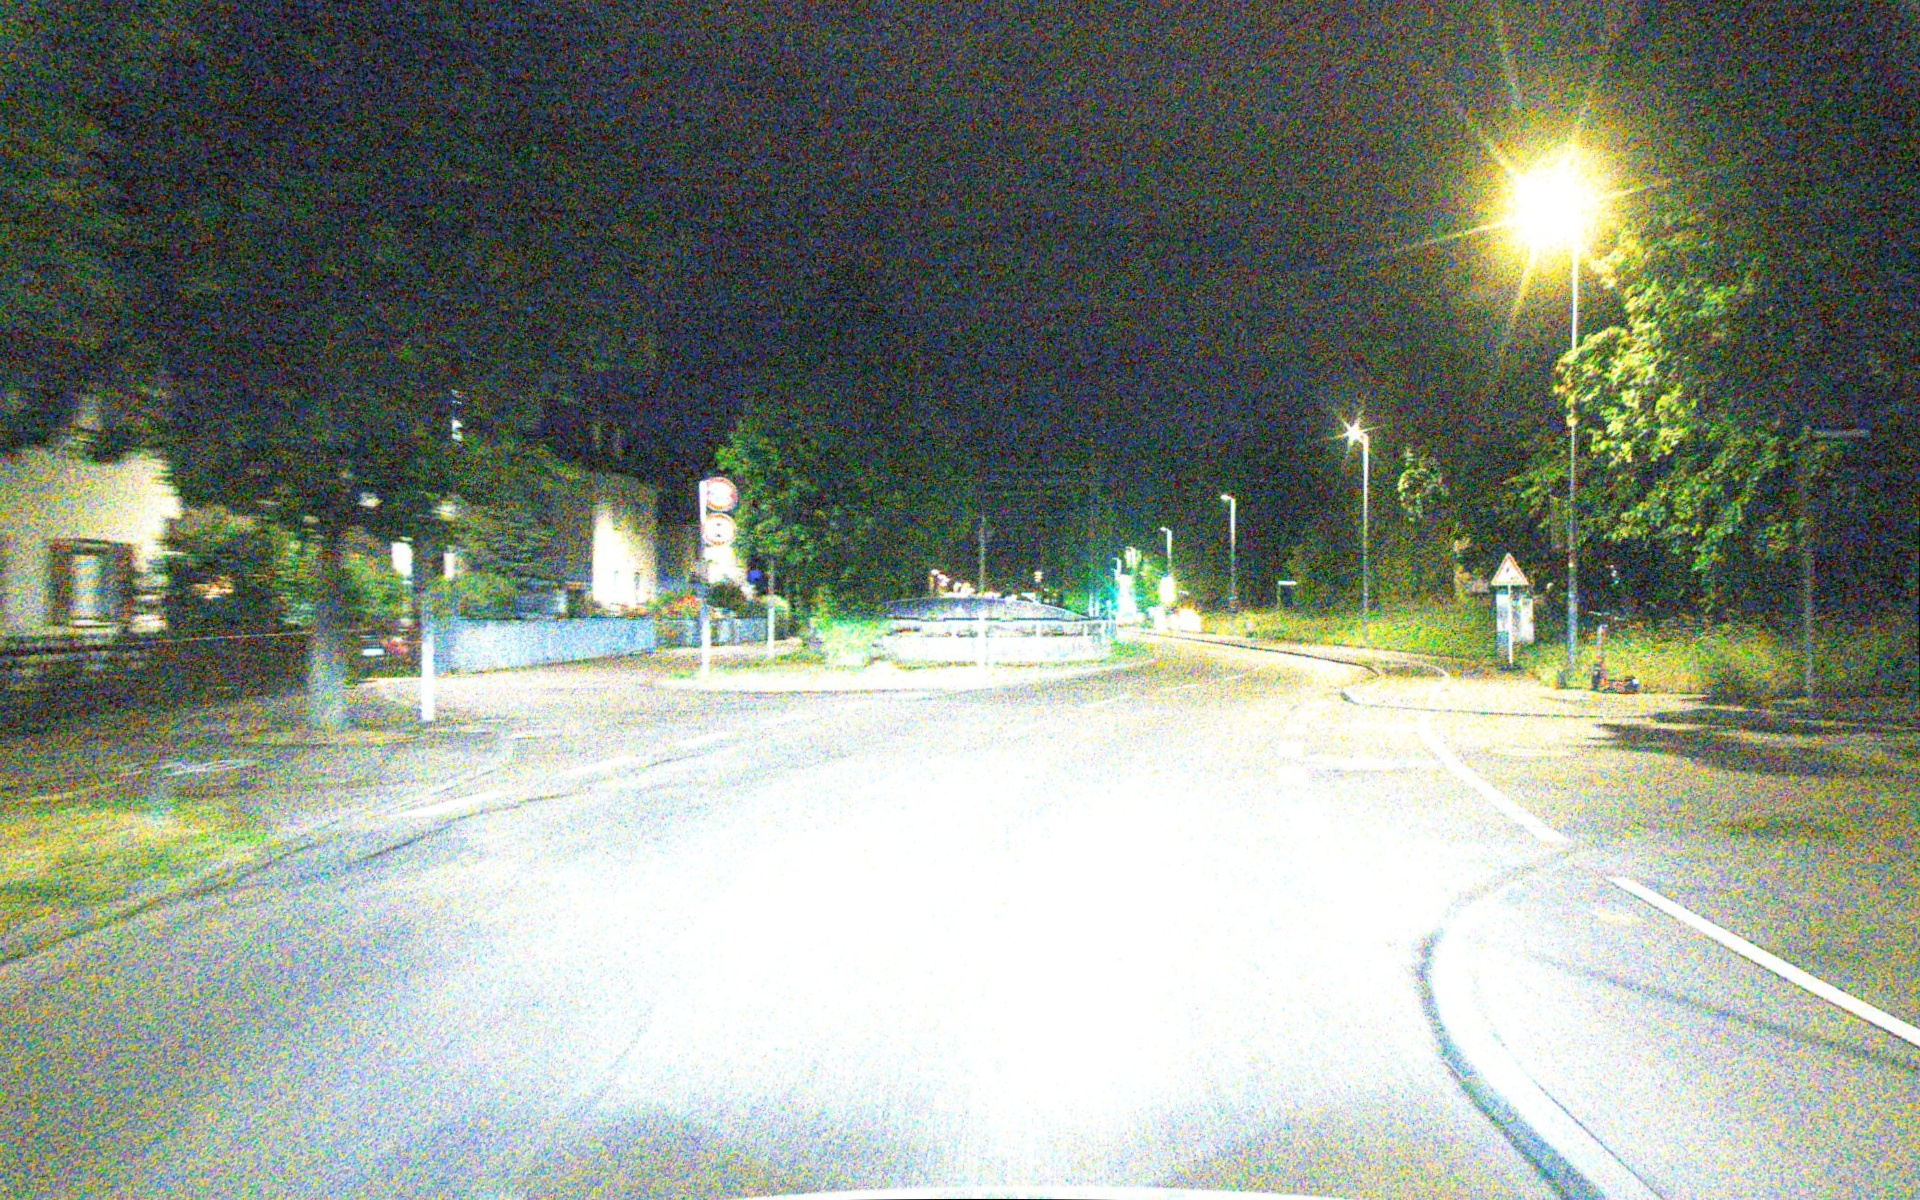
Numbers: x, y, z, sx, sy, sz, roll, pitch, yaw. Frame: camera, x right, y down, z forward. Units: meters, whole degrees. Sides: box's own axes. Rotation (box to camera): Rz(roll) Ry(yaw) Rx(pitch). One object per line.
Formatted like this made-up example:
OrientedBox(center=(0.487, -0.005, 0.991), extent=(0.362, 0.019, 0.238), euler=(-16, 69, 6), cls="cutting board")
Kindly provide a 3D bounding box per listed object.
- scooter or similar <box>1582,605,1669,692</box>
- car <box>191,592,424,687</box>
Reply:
OrientedBox(center=(10.438, 0.735, 25.982), extent=(0.599, 1.303, 1.689), euler=(1, 0, -3), cls="scooter or similar")
OrientedBox(center=(-11.876, 0.701, 30.166), extent=(3.634, 1.655, 1.784), euler=(0, -1, 17), cls="car")
